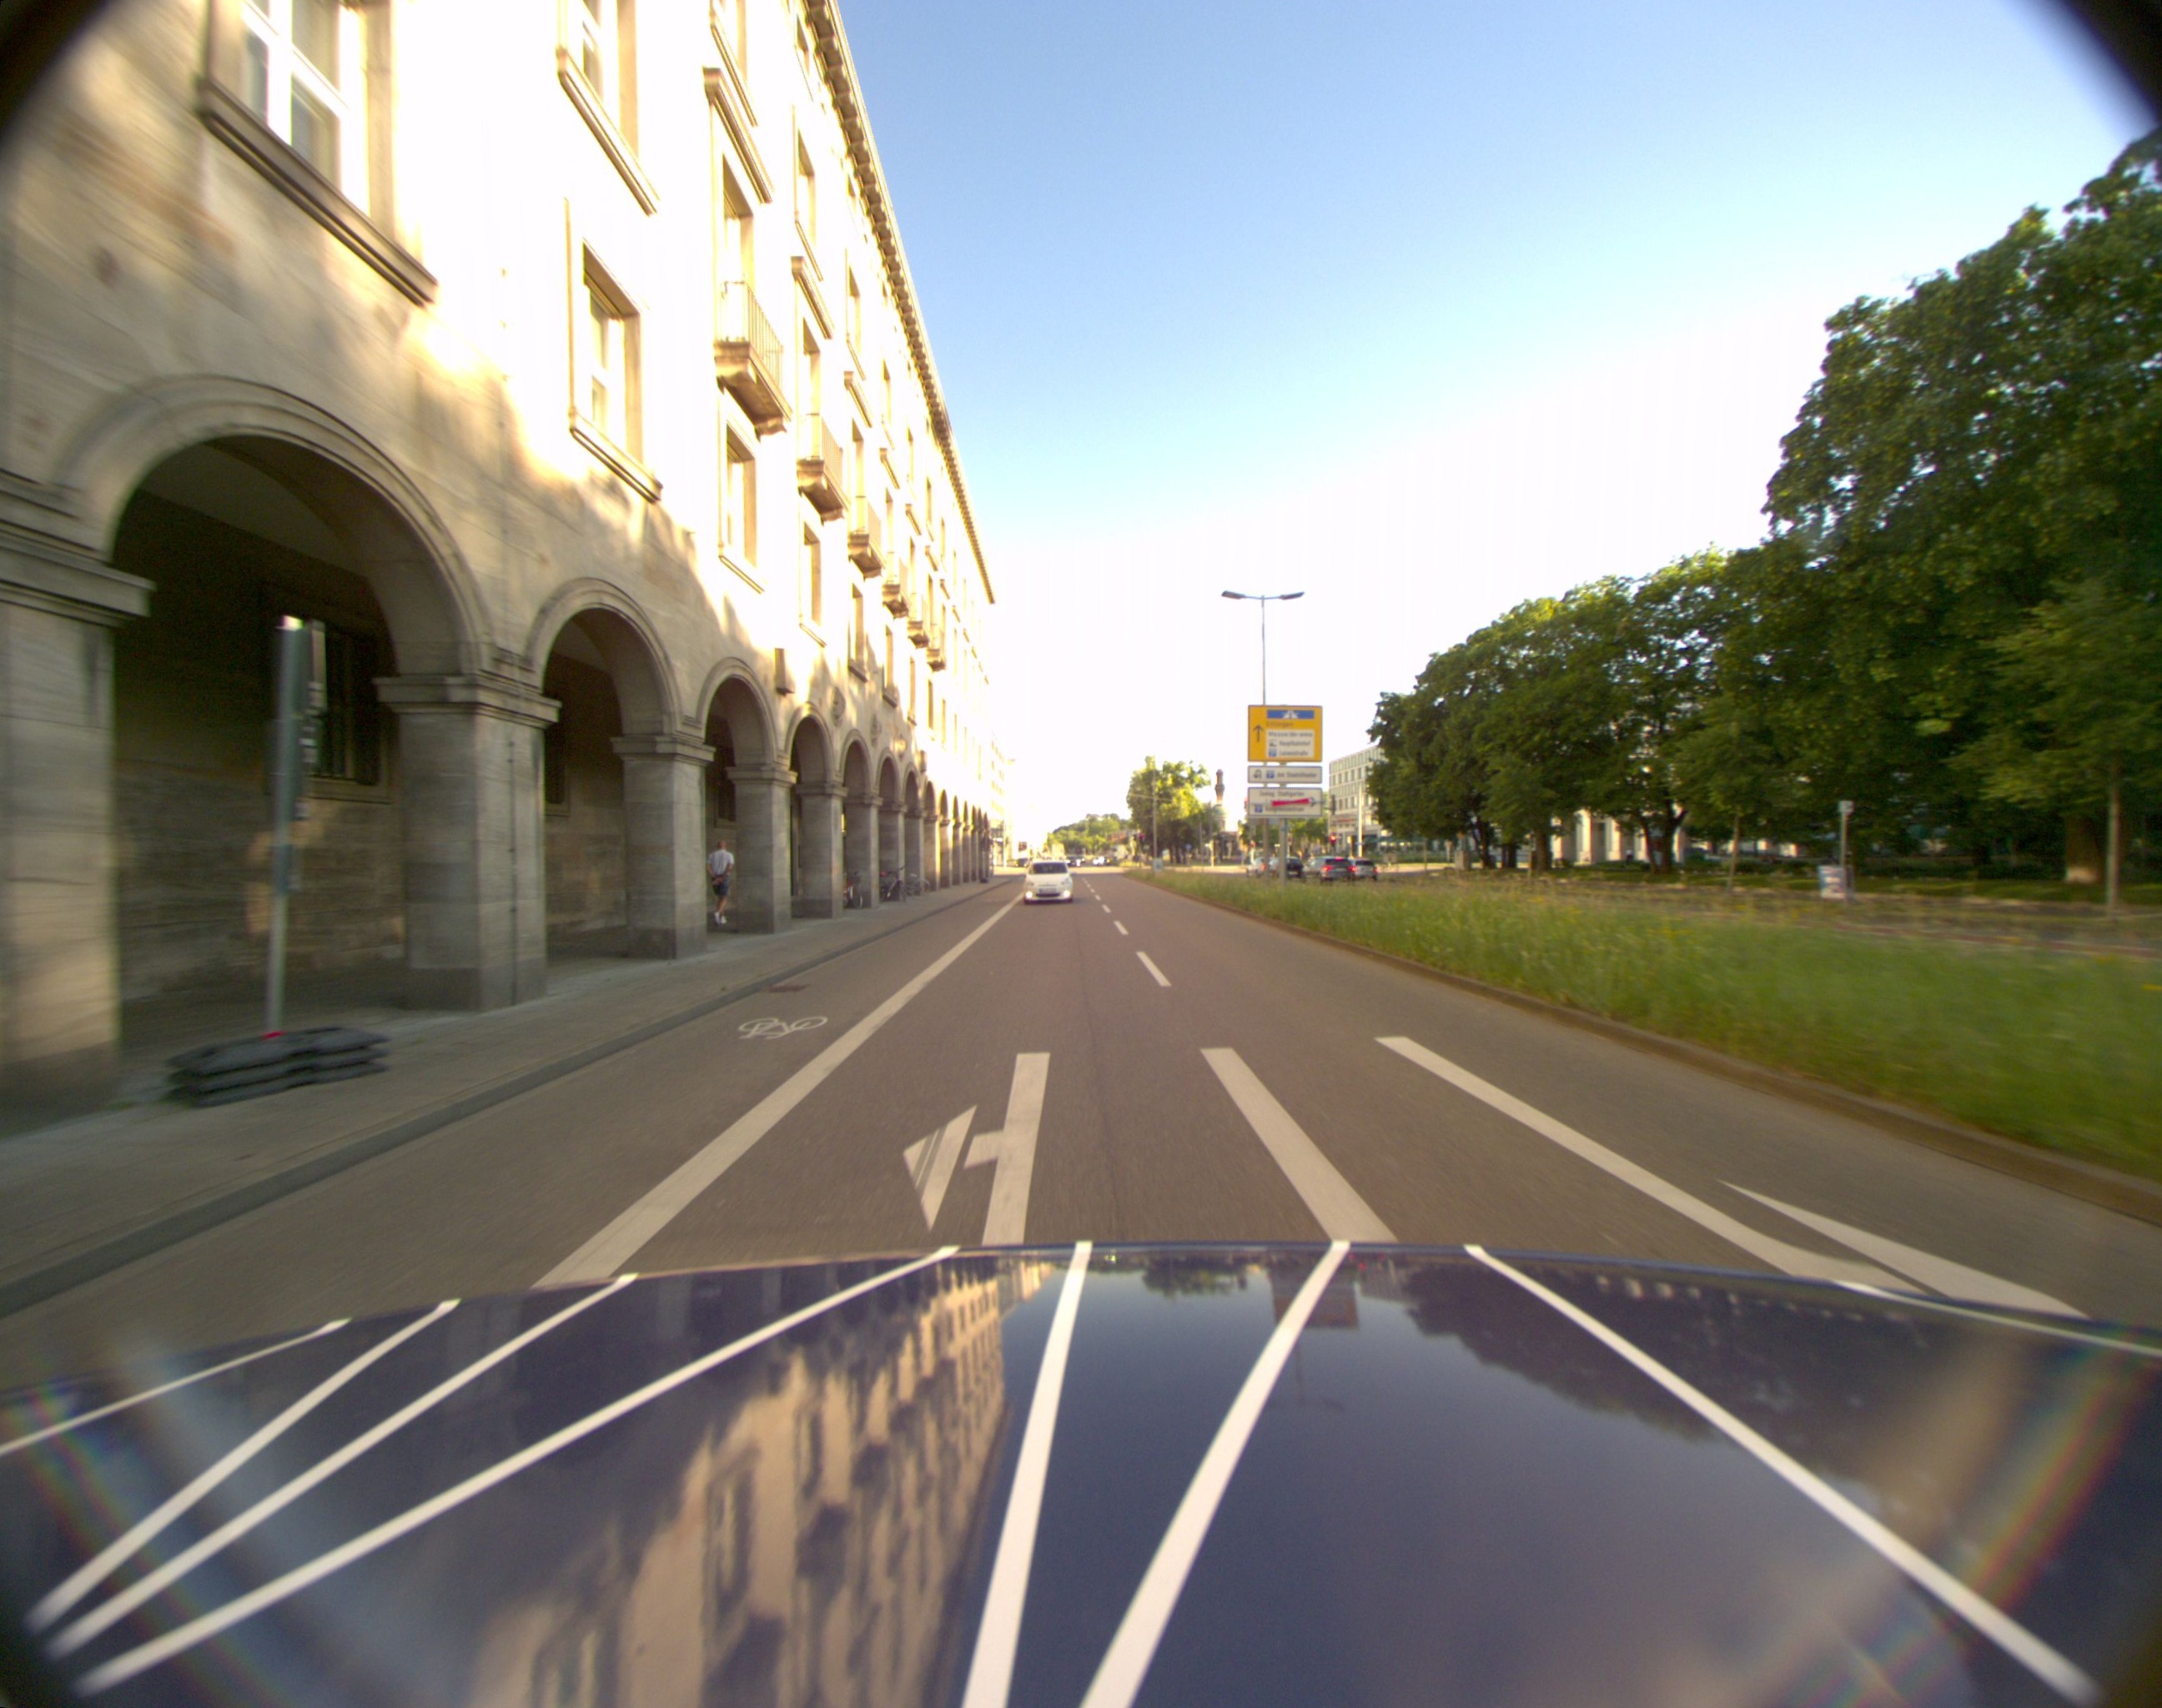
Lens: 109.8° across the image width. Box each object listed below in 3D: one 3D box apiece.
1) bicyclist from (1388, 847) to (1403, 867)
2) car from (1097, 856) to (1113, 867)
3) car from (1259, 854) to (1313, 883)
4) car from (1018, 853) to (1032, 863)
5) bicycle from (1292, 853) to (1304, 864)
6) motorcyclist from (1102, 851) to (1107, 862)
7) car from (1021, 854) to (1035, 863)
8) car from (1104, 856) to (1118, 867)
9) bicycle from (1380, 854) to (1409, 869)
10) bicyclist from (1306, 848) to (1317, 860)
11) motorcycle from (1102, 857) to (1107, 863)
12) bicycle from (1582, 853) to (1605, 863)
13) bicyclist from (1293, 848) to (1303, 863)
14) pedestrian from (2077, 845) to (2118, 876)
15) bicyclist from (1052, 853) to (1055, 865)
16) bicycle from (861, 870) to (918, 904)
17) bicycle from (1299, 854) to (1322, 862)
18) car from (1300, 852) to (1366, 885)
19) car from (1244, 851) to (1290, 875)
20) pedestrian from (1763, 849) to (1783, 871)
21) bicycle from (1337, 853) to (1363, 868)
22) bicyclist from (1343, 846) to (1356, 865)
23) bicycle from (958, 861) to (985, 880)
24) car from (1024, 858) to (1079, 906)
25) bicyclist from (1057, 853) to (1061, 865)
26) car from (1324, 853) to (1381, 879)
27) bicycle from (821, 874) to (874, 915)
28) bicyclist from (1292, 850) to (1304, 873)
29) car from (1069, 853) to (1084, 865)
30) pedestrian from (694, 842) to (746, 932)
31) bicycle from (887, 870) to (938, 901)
[{"bbox_3d":[28.261,0.278,68.277,0.925,1.681,0.775,2,2,-1],"label":"bicyclist"},{"bbox_3d":[3.424,1.059,108.856,1.999,1.564,4.549,-1,0,0],"label":"car"},{"bbox_3d":[12.375,0.835,46.207,1.999,1.666,4.549,0,0,0],"label":"car"},{"bbox_3d":[-8.997,0.672,121.905,1.999,1.564,4.548,-1,0,0],"label":"car"},{"bbox_3d":[22.832,0.471,79.956,0.844,1.223,2.018,0,0,28],"label":"bicycle"},{"bbox_3d":[3.181,0.335,103.003,0.607,1.438,0.736,0,1,-1],"label":"motorcyclist"},{"bbox_3d":[-8.888,0.755,127.972,1.999,1.564,4.548,-1,0,0],"label":"car"},{"bbox_3d":[4.621,1.131,118.321,1.999,1.564,4.548,-1,0,0],"label":"car"},{"bbox_3d":[28.209,0.692,68.364,2.311,1.231,0.779,3,-5,-1],"label":"bicycle"},{"bbox_3d":[25.852,0.030,85.079,0.972,1.354,0.827,0,1,1],"label":"bicyclist"},{"bbox_3d":[3.178,0.851,102.879,0.623,0.791,1.309,0,0,0],"label":"motorcycle"},{"bbox_3d":[46.199,0.397,68.507,0.770,0.884,1.604,-1,0,-9],"label":"bicycle"},{"bbox_3d":[22.807,0.185,79.917,0.850,1.610,0.974,0,1,29],"label":"bicyclist"},{"bbox_3d":[44.346,0.281,33.164,0.828,1.332,0.716,-1,1,2],"label":"pedestrian"},{"bbox_3d":[-3.646,0.640,101.074,0.358,1.567,0.535,-1,1,-1],"label":"bicyclist"},{"bbox_3d":[-6.212,1.052,24.705,0.610,1.044,1.717,2,0,43],"label":"bicycle"},{"bbox_3d":[25.687,0.447,85.095,2.334,0.846,0.843,0,0,1],"label":"bicycle"},{"bbox_3d":[12.657,0.705,38.455,1.999,1.555,4.060,0,0,0],"label":"car"},{"bbox_3d":[12.611,0.550,51.729,1.999,1.551,4.549,0,0,0],"label":"car"},{"bbox_3d":[44.253,0.380,48.590,0.733,1.332,0.599,-1,1,2],"label":"pedestrian"},{"bbox_3d":[23.908,0.574,67.527,2.019,1.233,0.778,0,2,-1],"label":"bicycle"},{"bbox_3d":[23.868,0.137,67.499,0.838,1.734,0.754,0,2,-1],"label":"bicyclist"},{"bbox_3d":[-6.700,0.996,46.371,1.708,1.126,0.665,1,1,39],"label":"bicycle"},{"bbox_3d":[-0.965,0.924,26.706,1.678,1.455,3.765,-2,0,1],"label":"car"},{"bbox_3d":[-2.939,0.655,101.233,0.454,1.567,0.535,-1,1,-1],"label":"bicyclist"},{"bbox_3d":[17.102,0.710,48.067,1.938,1.517,4.587,1,0,0],"label":"car"},{"bbox_3d":[-6.322,1.078,20.664,0.471,1.044,1.716,1,0,18],"label":"bicycle"},{"bbox_3d":[15.559,0.545,54.477,0.782,1.669,0.839,1,1,14],"label":"bicyclist"},{"bbox_3d":[-0.629,0.615,102.018,1.999,1.564,4.549,-1,0,0],"label":"car"},{"bbox_3d":[-7.546,0.676,15.916,0.630,1.822,0.965,1,0,-1],"label":"pedestrian"},{"bbox_3d":[-5.898,1.096,26.658,1.714,1.044,0.527,1,1,-15],"label":"bicycle"}]
